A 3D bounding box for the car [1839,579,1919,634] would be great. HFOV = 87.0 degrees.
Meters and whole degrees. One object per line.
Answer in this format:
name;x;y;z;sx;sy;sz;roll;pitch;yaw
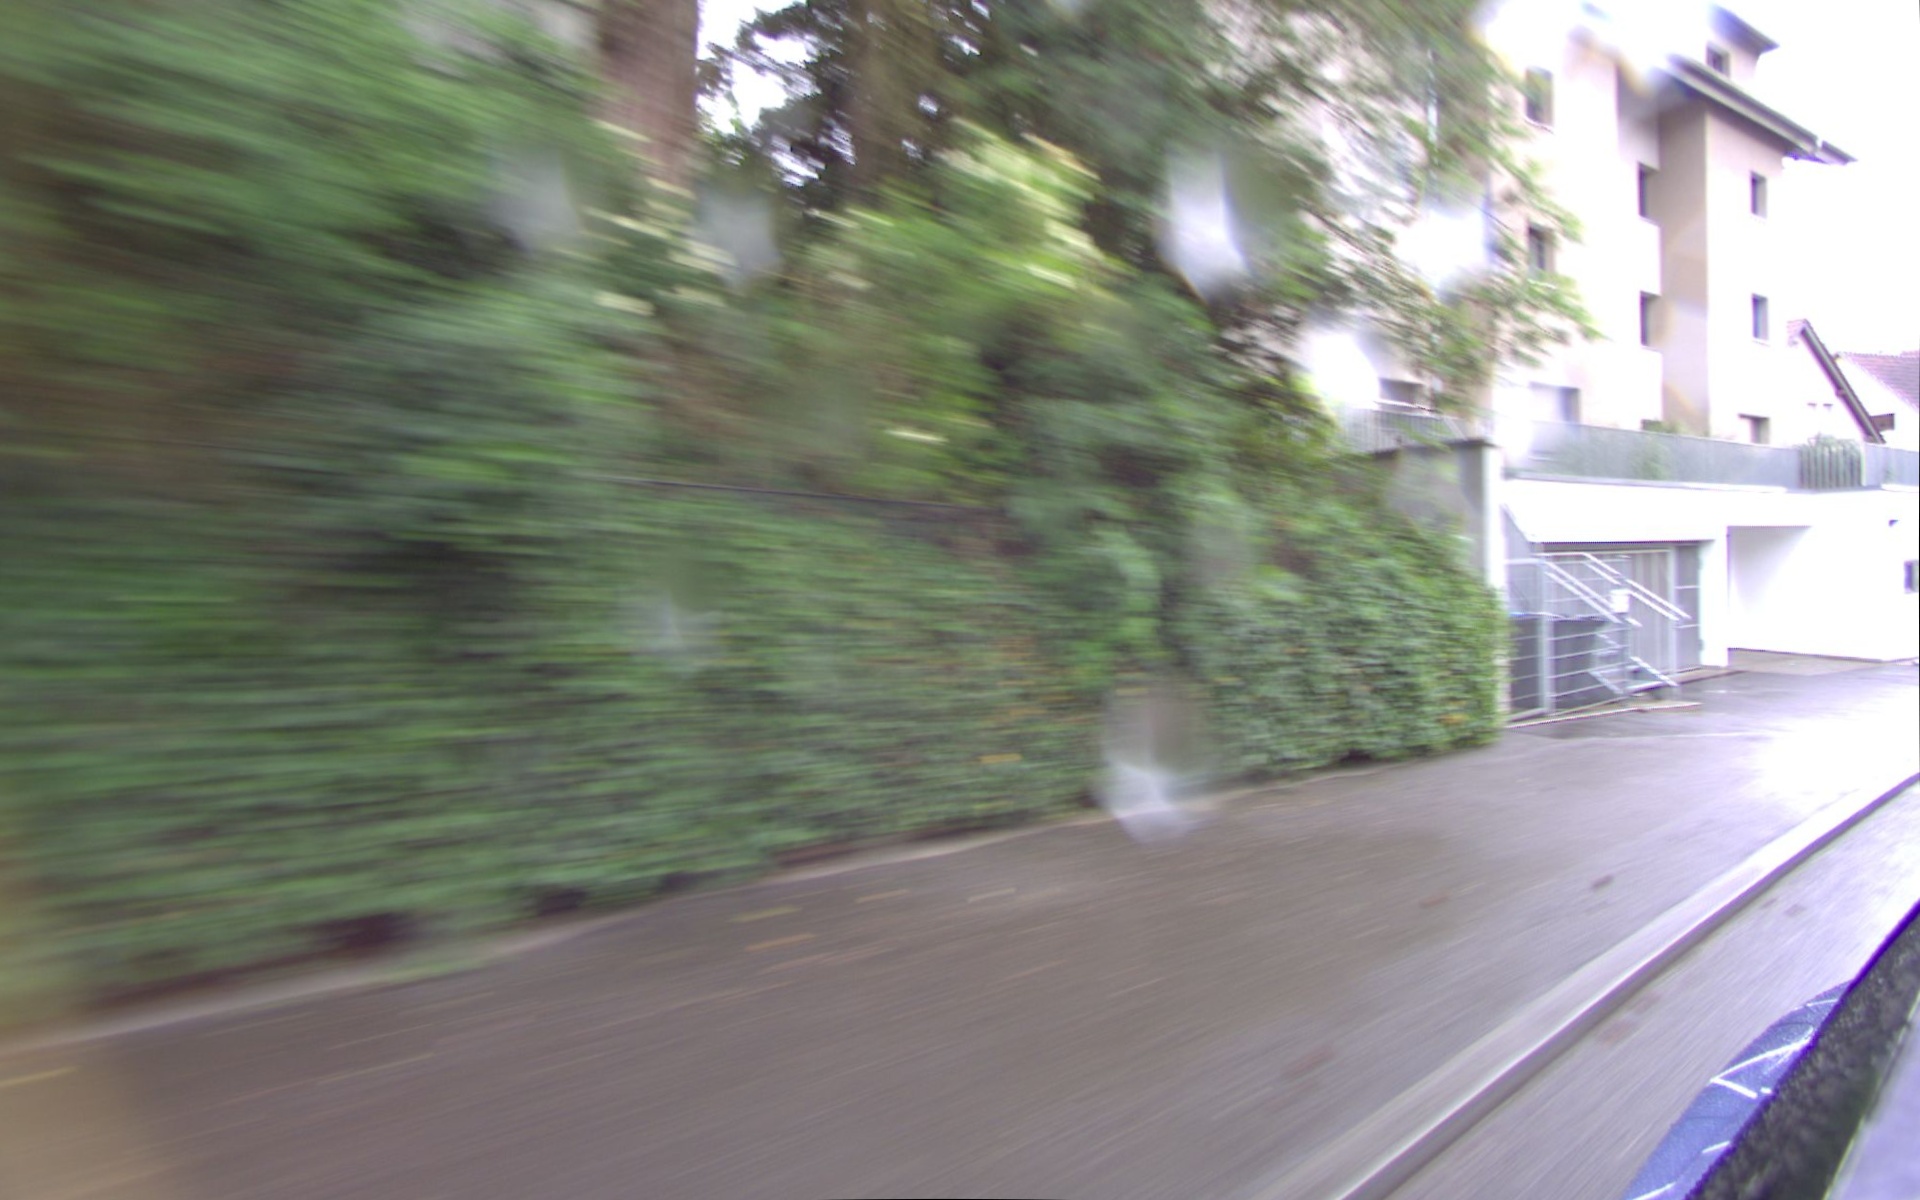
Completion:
car;26.804;0.171;27.440;1.958;1.476;4.009;0;1;-20
